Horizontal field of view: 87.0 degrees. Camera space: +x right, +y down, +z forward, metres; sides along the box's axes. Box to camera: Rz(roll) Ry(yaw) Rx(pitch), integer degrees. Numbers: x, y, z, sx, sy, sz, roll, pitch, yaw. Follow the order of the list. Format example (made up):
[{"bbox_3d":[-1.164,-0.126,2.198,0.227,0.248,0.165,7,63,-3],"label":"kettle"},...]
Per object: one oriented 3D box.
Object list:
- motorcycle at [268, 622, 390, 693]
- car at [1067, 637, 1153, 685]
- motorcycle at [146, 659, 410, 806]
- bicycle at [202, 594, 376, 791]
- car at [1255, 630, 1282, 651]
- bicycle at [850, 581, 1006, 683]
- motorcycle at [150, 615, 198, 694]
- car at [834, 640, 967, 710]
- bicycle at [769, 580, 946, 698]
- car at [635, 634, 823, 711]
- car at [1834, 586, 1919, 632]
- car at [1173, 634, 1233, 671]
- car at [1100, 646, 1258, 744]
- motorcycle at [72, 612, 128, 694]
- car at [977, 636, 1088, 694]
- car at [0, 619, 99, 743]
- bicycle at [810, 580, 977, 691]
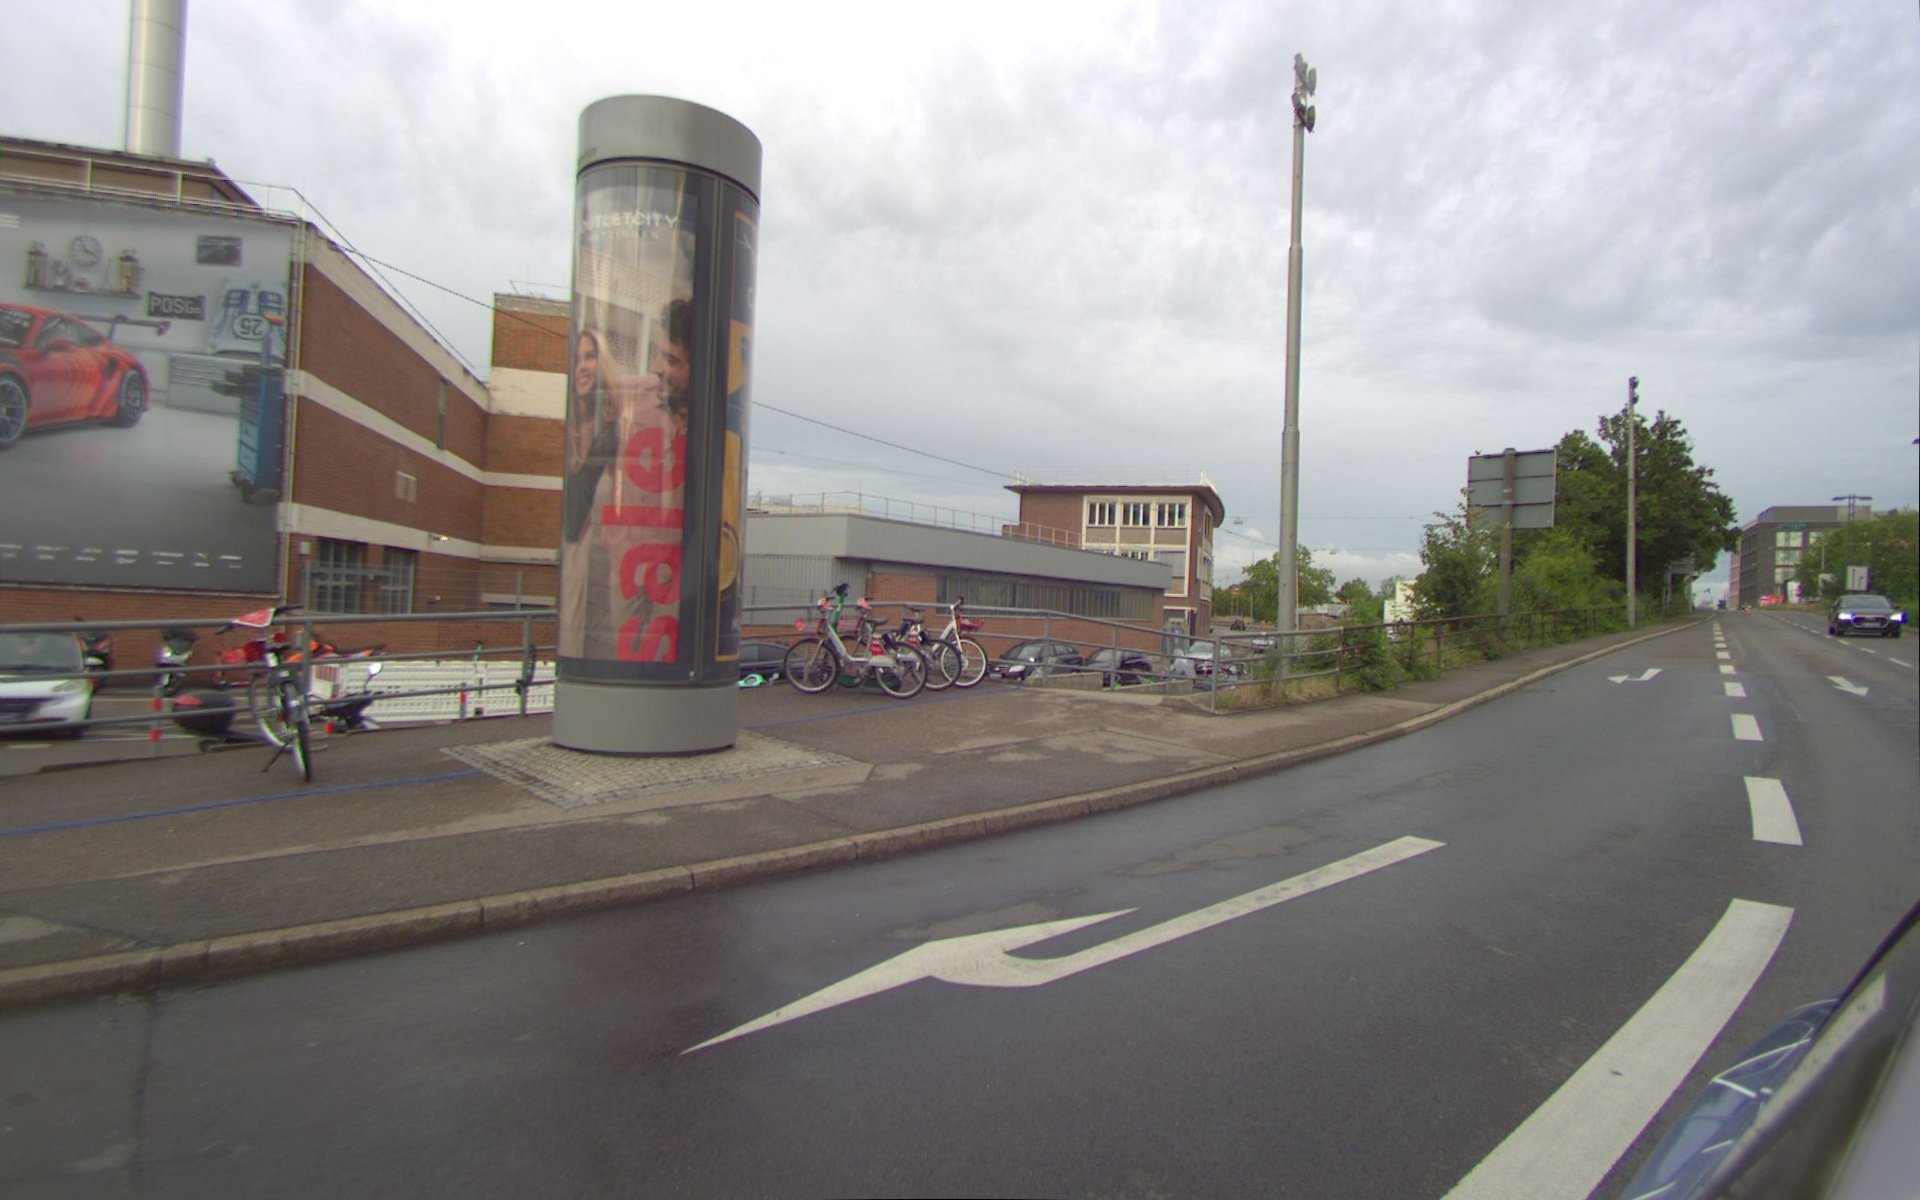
[{"bbox_3d":[-12.958,1.184,20.860,1.943,1.325,0.932,3,1,-24],"label":"motorcycle"},{"bbox_3d":[5.796,2.296,38.837,1.694,1.574,3.805,1,1,37],"label":"car"},{"bbox_3d":[-5.729,1.059,8.593,0.696,1.002,1.726,1,0,38],"label":"motorcycle"},{"bbox_3d":[-4.799,0.580,7.185,1.799,1.176,0.583,3,2,41],"label":"bicycle"},{"bbox_3d":[23.284,3.022,76.384,1.648,1.413,3.971,0,0,21],"label":"car"},{"bbox_3d":[-0.419,0.382,12.951,1.910,1.192,0.595,2,1,23],"label":"bicycle"},{"bbox_3d":[-15.277,1.041,19.696,0.562,1.325,1.873,3,2,-34],"label":"motorcycle"},{"bbox_3d":[-1.631,2.069,28.939,1.694,1.648,3.878,1,1,37],"label":"car"},{"bbox_3d":[-1.156,0.415,11.488,1.901,1.239,0.598,2,1,10],"label":"bicycle"},{"bbox_3d":[-5.343,1.656,23.876,1.694,1.630,4.204,-1,-3,37],"label":"car"},{"bbox_3d":[34.469,0.301,38.163,1.830,1.603,4.235,1,1,35],"label":"car"},{"bbox_3d":[12.226,2.599,50.793,1.692,1.574,3.809,1,1,35],"label":"car"},{"bbox_3d":[4.489,1.816,20.403,1.694,1.574,3.805,1,1,37],"label":"car"},{"bbox_3d":[-16.228,0.978,19.132,0.675,1.325,2.022,3,2,-38],"label":"motorcycle"},{"bbox_3d":[2.505,2.122,34.065,1.629,1.652,4.371,1,1,37],"label":"car"},{"bbox_3d":[-13.925,1.117,15.005,1.663,1.500,3.557,4,-1,-40],"label":"car"},{"bbox_3d":[-0.781,0.401,12.118,1.900,1.239,0.598,2,1,8],"label":"bicycle"}]
